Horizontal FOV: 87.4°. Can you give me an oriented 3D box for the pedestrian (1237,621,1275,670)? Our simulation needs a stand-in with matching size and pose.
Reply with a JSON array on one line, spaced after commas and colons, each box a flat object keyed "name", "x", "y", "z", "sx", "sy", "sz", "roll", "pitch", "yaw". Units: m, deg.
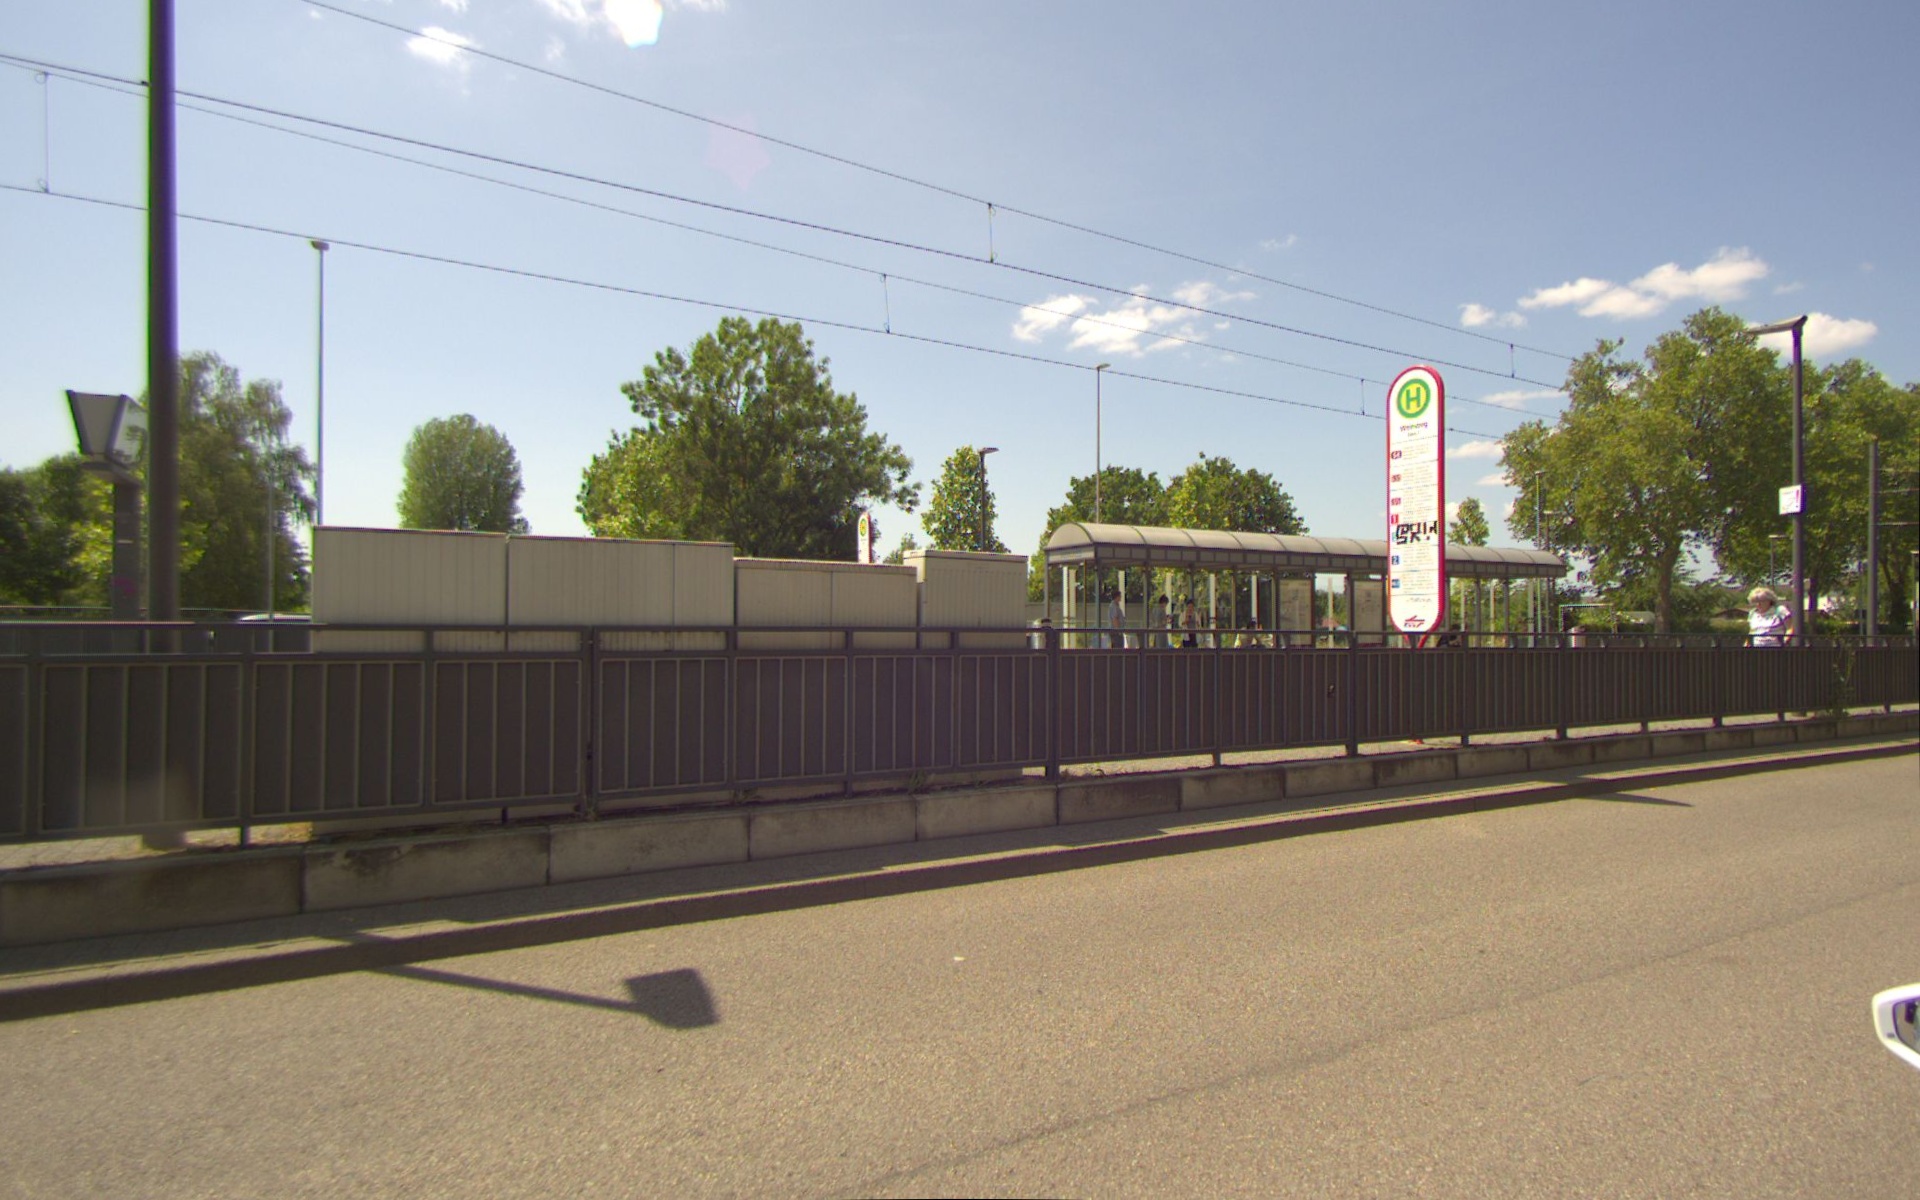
[{"name": "pedestrian", "x": 6.897, "y": 1.054, "z": 23.379, "sx": 0.631, "sy": 1.109, "sz": 0.574, "roll": 1, "pitch": -1, "yaw": -28}]

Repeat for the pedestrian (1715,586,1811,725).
[{"name": "pedestrian", "x": 10.132, "y": 0.680, "z": 12.680, "sx": 0.733, "sy": 1.688, "sz": 0.729, "roll": 1, "pitch": 0, "yaw": -29}]

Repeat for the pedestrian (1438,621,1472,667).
[{"name": "pedestrian", "x": 13.394, "y": 1.181, "z": 27.164, "sx": 0.631, "sy": 1.206, "sz": 0.574, "roll": 1, "pitch": -1, "yaw": -28}]

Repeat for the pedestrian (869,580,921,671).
[{"name": "pedestrian", "x": -1.224, "y": 0.475, "z": 18.943, "sx": 0.799, "sy": 1.660, "sz": 0.553, "roll": 1, "pitch": 0, "yaw": -36}]

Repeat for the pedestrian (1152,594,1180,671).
[{"name": "pedestrian", "x": 4.545, "y": 0.710, "z": 22.234, "sx": 0.566, "sy": 1.660, "sz": 0.829, "roll": 0, "pitch": -1, "yaw": 9}]

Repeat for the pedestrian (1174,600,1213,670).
[{"name": "pedestrian", "x": 5.242, "y": 0.784, "z": 22.541, "sx": 0.631, "sy": 1.553, "sz": 0.574, "roll": 1, "pitch": -1, "yaw": -28}]

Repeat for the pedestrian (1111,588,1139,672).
[{"name": "pedestrian", "x": 3.481, "y": 0.630, "z": 21.196, "sx": 0.566, "sy": 1.752, "sz": 0.739, "roll": 0, "pitch": -1, "yaw": 9}]

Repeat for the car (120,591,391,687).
[{"name": "car", "x": -13.063, "y": 0.697, "z": 18.981, "sx": 3.951, "sy": 1.650, "sz": 1.985, "roll": 1, "pitch": 0, "yaw": -29}]
